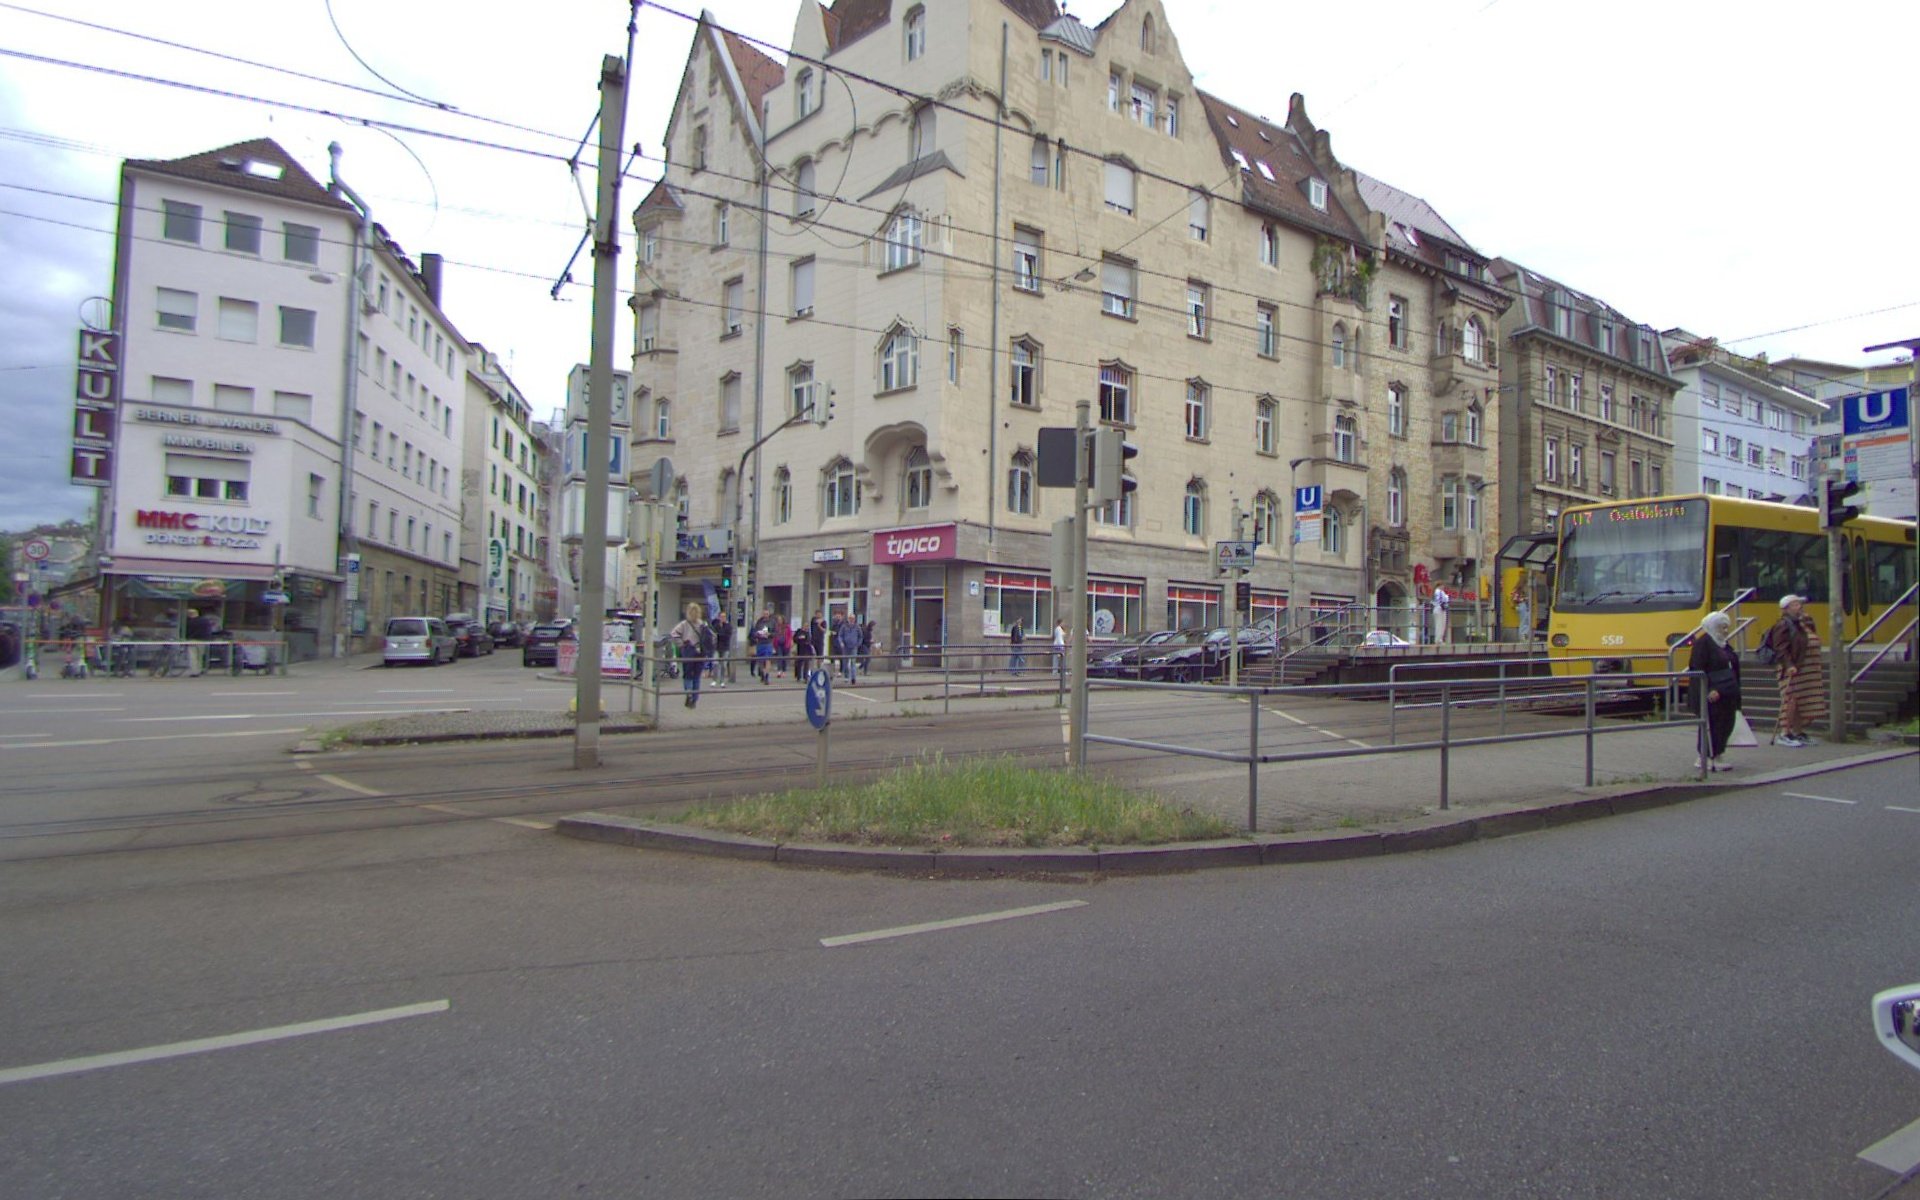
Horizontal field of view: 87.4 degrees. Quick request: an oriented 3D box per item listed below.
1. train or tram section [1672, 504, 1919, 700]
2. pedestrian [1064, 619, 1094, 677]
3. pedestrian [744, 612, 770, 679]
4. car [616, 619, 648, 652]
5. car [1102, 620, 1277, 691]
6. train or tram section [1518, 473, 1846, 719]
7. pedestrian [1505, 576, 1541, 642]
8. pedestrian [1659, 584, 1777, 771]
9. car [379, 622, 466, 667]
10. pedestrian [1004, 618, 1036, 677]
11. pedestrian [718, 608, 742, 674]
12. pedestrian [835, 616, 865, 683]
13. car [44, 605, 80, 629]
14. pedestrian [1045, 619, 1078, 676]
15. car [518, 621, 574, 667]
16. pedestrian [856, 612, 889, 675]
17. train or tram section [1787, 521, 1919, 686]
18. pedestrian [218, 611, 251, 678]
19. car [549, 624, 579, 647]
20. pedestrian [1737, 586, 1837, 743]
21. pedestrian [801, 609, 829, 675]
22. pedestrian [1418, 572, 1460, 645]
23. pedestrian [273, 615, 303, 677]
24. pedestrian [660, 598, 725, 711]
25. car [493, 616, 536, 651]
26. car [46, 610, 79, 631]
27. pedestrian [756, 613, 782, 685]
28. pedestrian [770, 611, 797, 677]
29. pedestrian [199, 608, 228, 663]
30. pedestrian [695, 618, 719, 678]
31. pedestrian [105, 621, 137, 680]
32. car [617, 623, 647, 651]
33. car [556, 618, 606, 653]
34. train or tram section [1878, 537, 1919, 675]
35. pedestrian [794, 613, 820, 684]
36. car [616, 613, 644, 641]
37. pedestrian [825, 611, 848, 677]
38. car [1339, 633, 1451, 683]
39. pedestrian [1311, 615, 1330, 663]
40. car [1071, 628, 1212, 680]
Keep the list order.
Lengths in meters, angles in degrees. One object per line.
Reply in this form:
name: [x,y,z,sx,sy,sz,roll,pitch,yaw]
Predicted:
train or tram section: [17.805,0.084,20.972,5.687,3.568,2.820,1,-1,-32]
pedestrian: [3.578,1.431,30.186,0.700,1.728,0.601,1,-2,-26]
pedestrian: [-5.590,1.251,27.628,0.569,1.803,0.508,1,-2,-25]
car: [-18.620,2.057,57.125,1.610,1.768,3.771,0,-4,-17]
car: [5.636,1.331,24.577,3.953,1.595,1.899,2,-1,-30]
train or tram section: [12.964,-0.016,17.961,5.687,3.728,2.820,1,-1,-32]
pedestrian: [14.979,0.240,26.726,0.684,1.734,0.630,1,-2,-40]
pedestrian: [7.402,0.727,9.811,0.862,1.734,0.632,0,-1,-32]
car: [-20.367,1.652,38.242,1.724,1.581,4.504,1,-1,-12]
pedestrian: [1.775,1.398,29.933,0.645,1.728,0.780,1,-2,-26]
pedestrian: [-6.359,1.121,27.724,0.505,1.803,0.573,1,-2,-26]
pedestrian: [-2.838,1.270,25.876,0.679,1.699,0.674,1,-2,-14]
car: [-67.227,1.298,75.234,1.635,1.734,3.612,2,-2,-37]
pedestrian: [3.142,1.474,31.157,0.714,1.728,0.780,1,-2,-26]
car: [-15.963,1.732,38.875,1.610,1.705,3.771,0,-4,-17]
pedestrian: [-2.547,1.258,29.226,0.808,1.803,0.574,1,-2,-22]
train or tram section: [22.640,0.117,23.973,5.687,3.568,2.820,1,-1,-32]
pedestrian: [-19.968,1.220,27.651,0.568,1.803,0.509,1,-2,-19]
car: [-27.789,2.511,70.612,1.610,1.599,3.770,1,-2,-17]
pedestrian: [9.549,0.727,11.608,0.704,1.734,0.682,0,-1,-32]
pedestrian: [-4.066,1.172,28.208,0.654,1.803,0.790,0,-2,-1]
pedestrian: [11.643,0.214,24.417,0.654,1.734,0.684,0,-1,-32]
pedestrian: [-19.924,1.358,29.782,0.502,1.803,0.576,1,-2,-5]
pedestrian: [-4.236,0.857,15.942,0.796,1.728,0.877,0,-2,-3]
car: [-23.487,1.753,53.021,1.610,1.769,3.770,1,-1,-17]
car: [-73.552,1.694,82.326,1.635,1.734,3.612,2,-2,-37]
pedestrian: [-4.862,1.231,25.560,0.586,1.803,0.709,1,-2,-16]
pedestrian: [-4.880,1.223,27.783,0.570,1.803,0.507,1,-2,-29]
pedestrian: [-24.702,1.182,33.235,0.589,1.803,0.509,1,-2,-19]
pedestrian: [-6.919,1.309,27.464,0.505,1.603,0.572,1,-2,-29]
pedestrian: [-25.998,1.551,31.124,0.568,1.803,0.509,1,-2,-19]
car: [-20.061,2.305,61.512,1.610,1.615,3.671,0,-4,-17]
car: [-20.679,1.956,54.976,2.021,1.768,4.656,0,-4,-15]
train or tram section: [27.510,0.179,26.967,5.687,3.568,2.820,1,-1,-32]
pedestrian: [-3.946,1.258,25.921,0.567,1.803,0.509,1,-2,-17]
car: [-21.996,1.822,67.093,1.610,1.768,3.772,0,-4,-16]
pedestrian: [-3.450,1.230,28.060,0.565,1.803,0.511,0,-2,-1]
car: [14.207,1.871,32.753,3.558,1.544,1.552,2,-1,-30]
pedestrian: [13.639,1.482,38.065,0.616,1.785,0.847,0,-2,16]
car: [5.126,1.526,28.335,3.735,1.393,1.626,1,-4,-28]
